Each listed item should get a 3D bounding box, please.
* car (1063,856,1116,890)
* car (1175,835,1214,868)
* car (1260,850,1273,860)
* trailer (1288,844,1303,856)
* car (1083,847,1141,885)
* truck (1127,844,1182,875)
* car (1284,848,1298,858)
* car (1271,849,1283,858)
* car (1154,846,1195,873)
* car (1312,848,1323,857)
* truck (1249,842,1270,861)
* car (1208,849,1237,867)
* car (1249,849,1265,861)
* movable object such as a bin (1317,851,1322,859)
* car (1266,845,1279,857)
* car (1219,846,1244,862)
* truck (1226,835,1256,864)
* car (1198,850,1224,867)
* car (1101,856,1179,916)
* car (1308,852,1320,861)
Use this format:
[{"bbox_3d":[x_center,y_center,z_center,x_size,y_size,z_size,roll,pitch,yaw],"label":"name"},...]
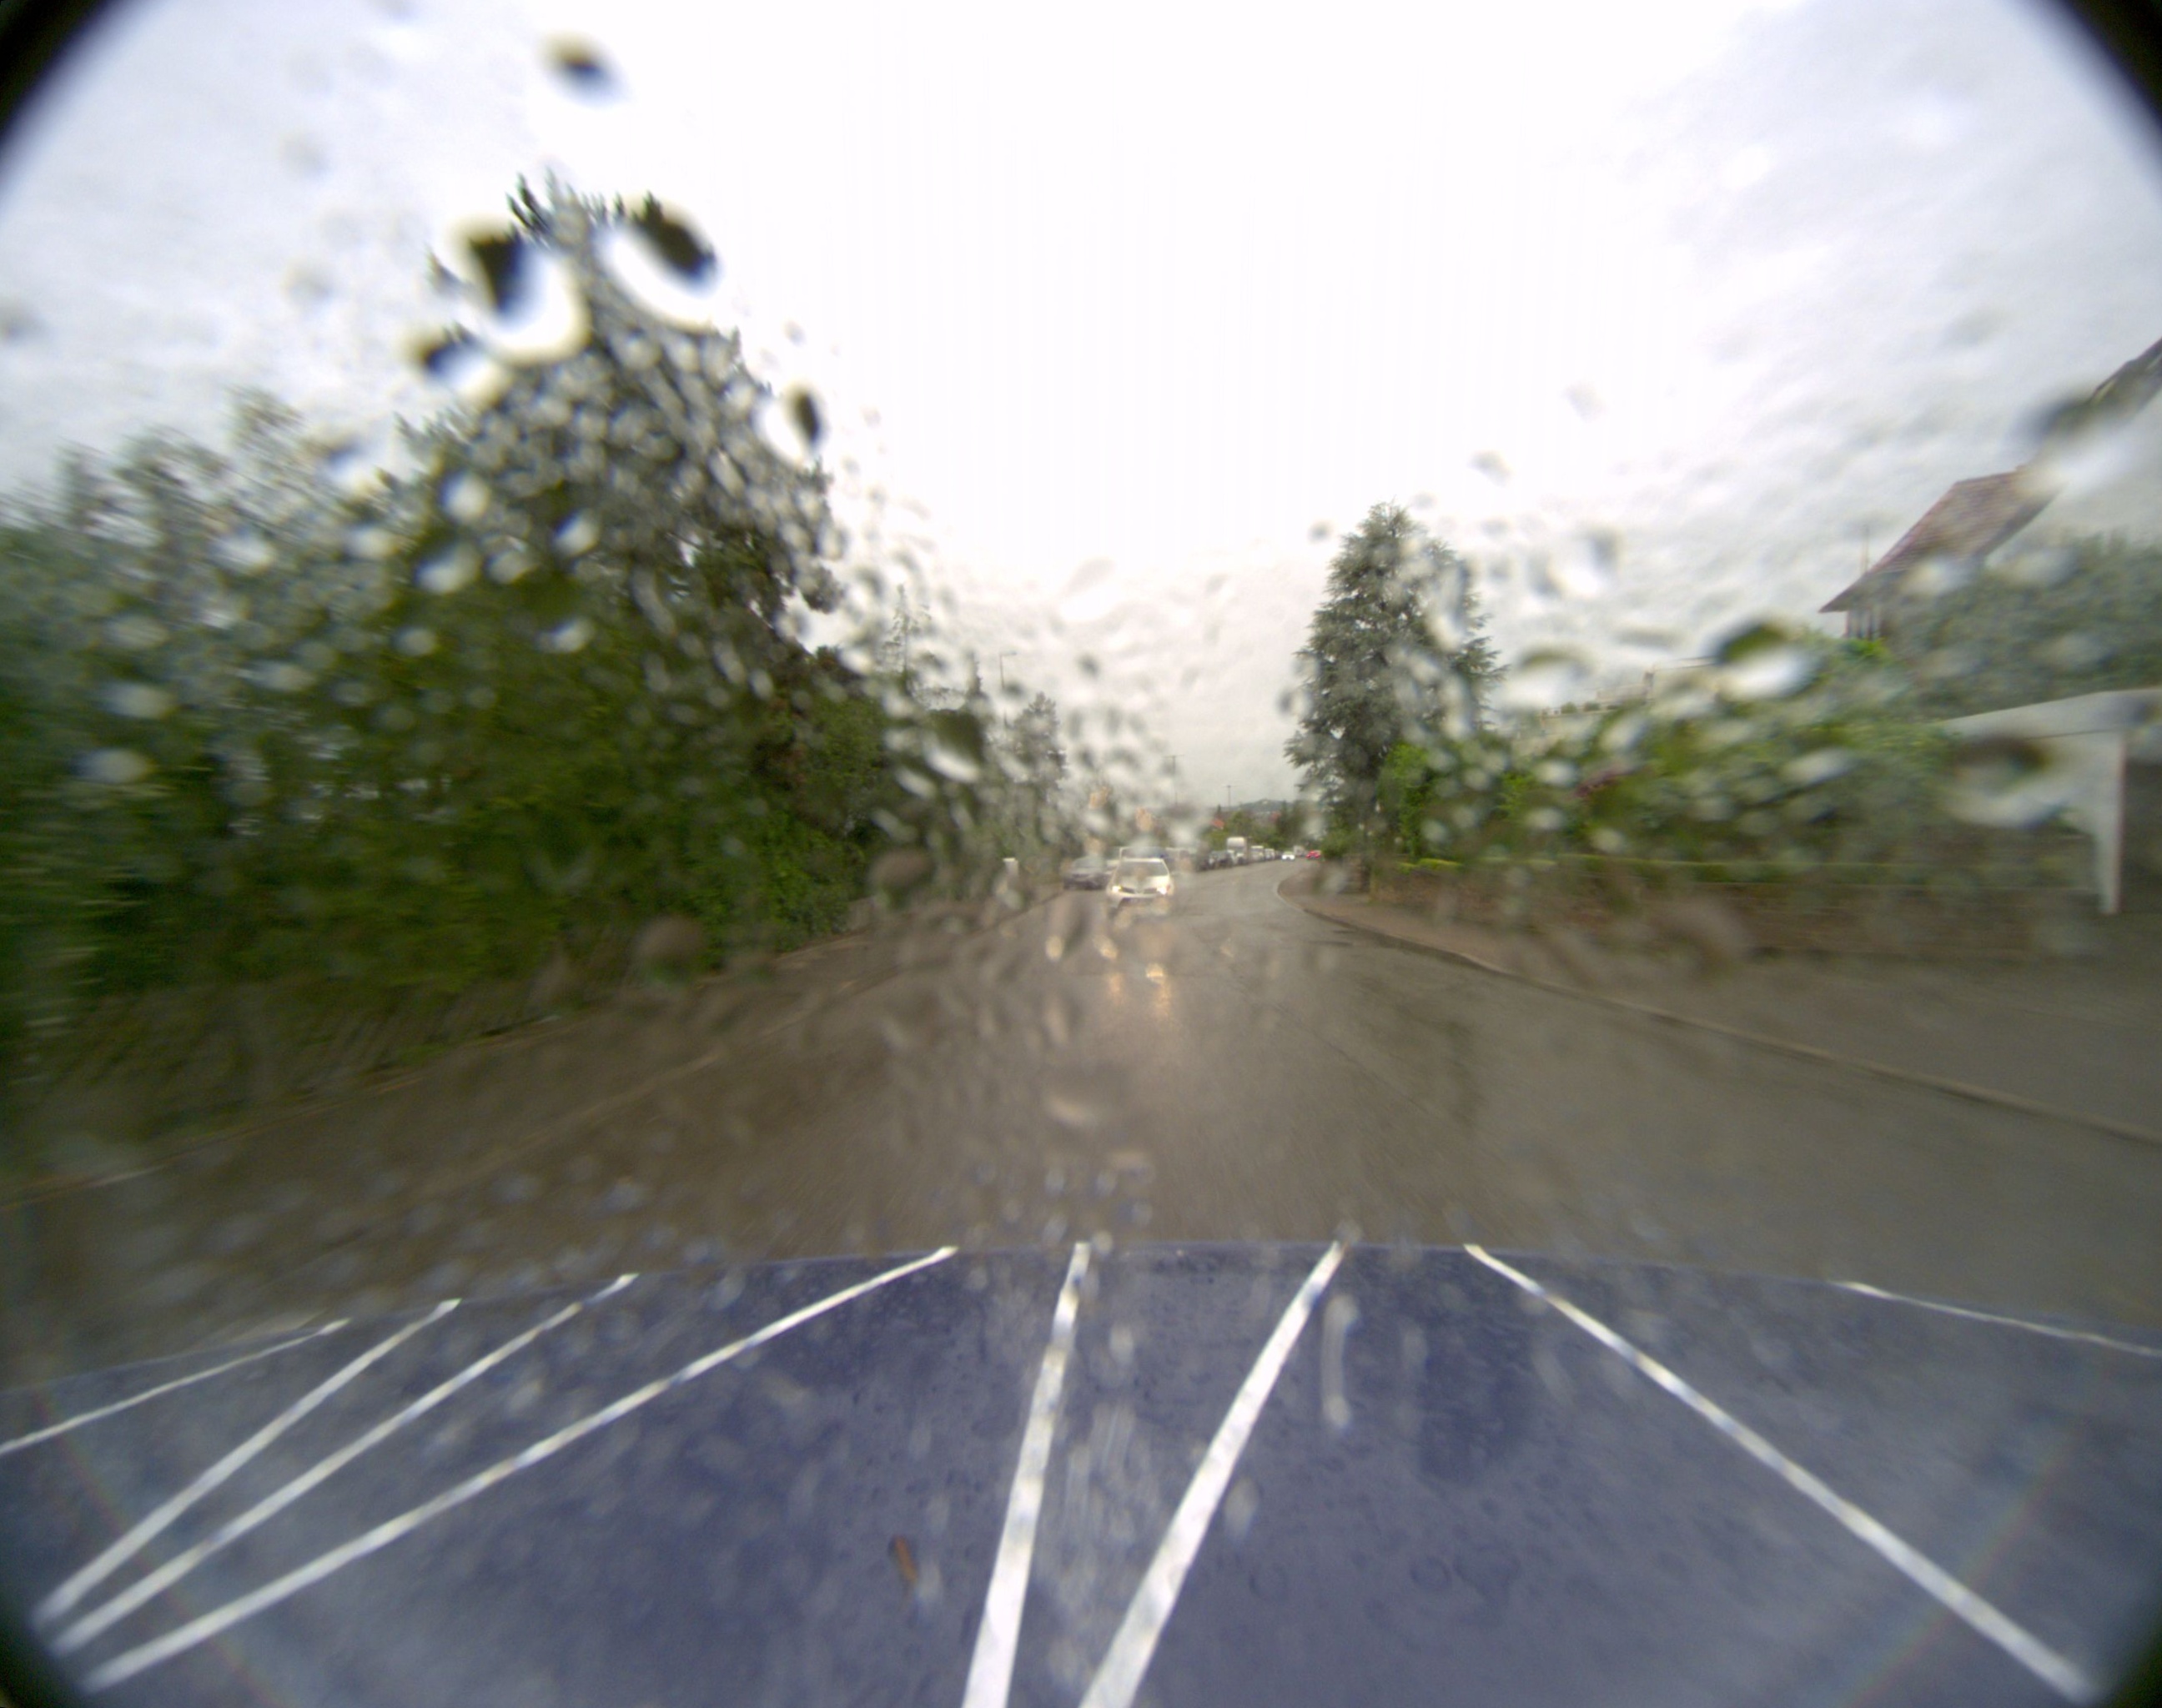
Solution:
[{"bbox_3d":[0.452,0.828,34.830,1.688,1.448,4.061,-1,0,12],"label":"car"},{"bbox_3d":[9.243,-0.218,61.535,2.033,2.491,5.964,1,1,19],"label":"car"},{"bbox_3d":[29.801,0.118,121.974,1.649,1.554,3.968,1,1,20],"label":"car"},{"bbox_3d":[46.537,-0.829,164.742,1.950,2.443,5.444,1,1,29],"label":"trailer"},{"bbox_3d":[1.740,0.586,40.767,1.862,1.910,5.085,-1,0,17],"label":"car"},{"bbox_3d":[4.881,0.340,49.669,2.116,1.841,6.627,-2,0,18],"label":"truck"},{"bbox_3d":[33.995,-0.145,122.839,1.817,1.498,4.731,1,1,21],"label":"car"},{"bbox_3d":[35.911,-0.102,139.103,1.817,1.498,4.730,1,1,20],"label":"car"},{"bbox_3d":[6.866,0.341,55.071,1.829,1.831,5.277,1,1,20],"label":"car"},{"bbox_3d":[44.960,-0.260,144.373,1.800,1.558,4.390,1,1,19],"label":"car"},{"bbox_3d":[26.194,-0.410,111.451,2.241,2.616,6.547,1,1,20],"label":"truck"},{"bbox_3d":[13.779,0.354,73.710,1.938,1.662,4.701,1,1,21],"label":"car"},{"bbox_3d":[24.124,0.121,103.953,1.761,1.595,4.672,1,1,18],"label":"car"},{"bbox_3d":[32.077,0.086,102.369,0.603,1.057,0.699,-1,0,15],"label":"movable object such as a bin"},{"bbox_3d":[32.397,-0.507,128.420,1.851,1.871,4.916,1,1,16],"label":"car"},{"bbox_3d":[16.483,-0.008,82.963,1.848,1.674,5.646,1,1,19],"label":"car"},{"bbox_3d":[19.044,-0.612,90.109,2.438,3.316,7.975,1,1,19],"label":"truck"},{"bbox_3d":[11.619,0.393,67.812,1.590,1.421,3.803,1,1,21],"label":"car"},{"bbox_3d":[1.674,0.798,20.768,1.862,1.369,4.183,-2,0,6],"label":"car"},{"bbox_3d":[39.301,0.459,127.951,1.776,1.429,4.367,3,1,18],"label":"car"}]
